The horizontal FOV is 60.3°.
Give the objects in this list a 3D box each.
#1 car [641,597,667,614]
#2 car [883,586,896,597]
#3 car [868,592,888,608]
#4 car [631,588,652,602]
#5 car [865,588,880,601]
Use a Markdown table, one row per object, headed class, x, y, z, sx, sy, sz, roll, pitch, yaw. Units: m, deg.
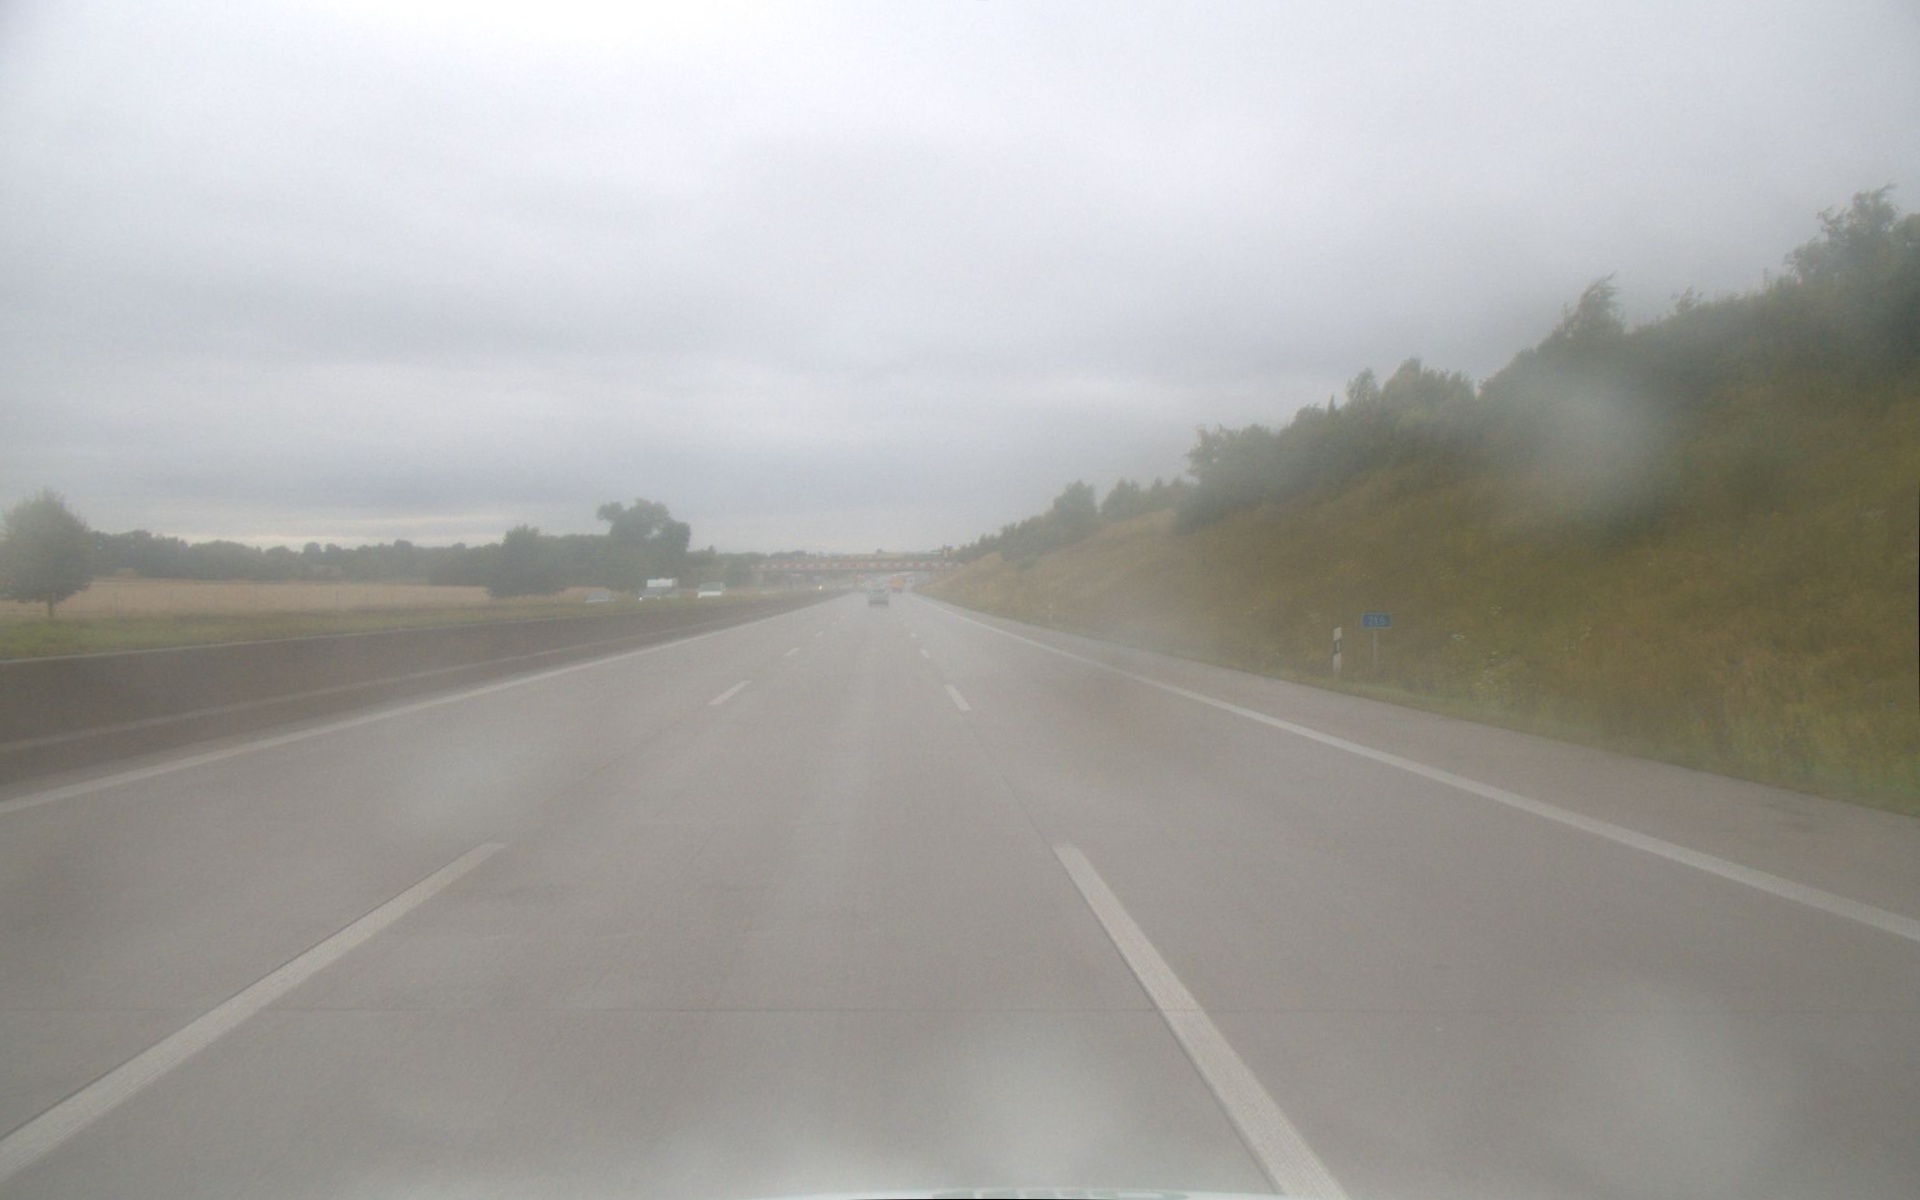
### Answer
| class | x | y | z | sx | sy | sz | roll | pitch | yaw |
| --- | --- | --- | --- | --- | --- | --- | --- | --- | --- |
| car | -26.180 | 0.467 | 141.639 | 1.639 | 1.422 | 4.063 | 1 | 0 | -4 |
| car | -9.852 | -1.173 | 230.476 | 1.695 | 1.354 | 4.427 | 1 | 2 | -4 |
| car | -7.504 | -0.026 | 151.314 | 1.811 | 1.354 | 4.427 | 1 | 2 | -4 |
| car | -34.098 | -0.559 | 177.123 | 1.639 | 1.422 | 4.063 | 1 | 0 | -4 |
| car | -9.961 | -0.654 | 188.372 | 1.695 | 1.354 | 4.427 | 1 | 2 | -4 |
